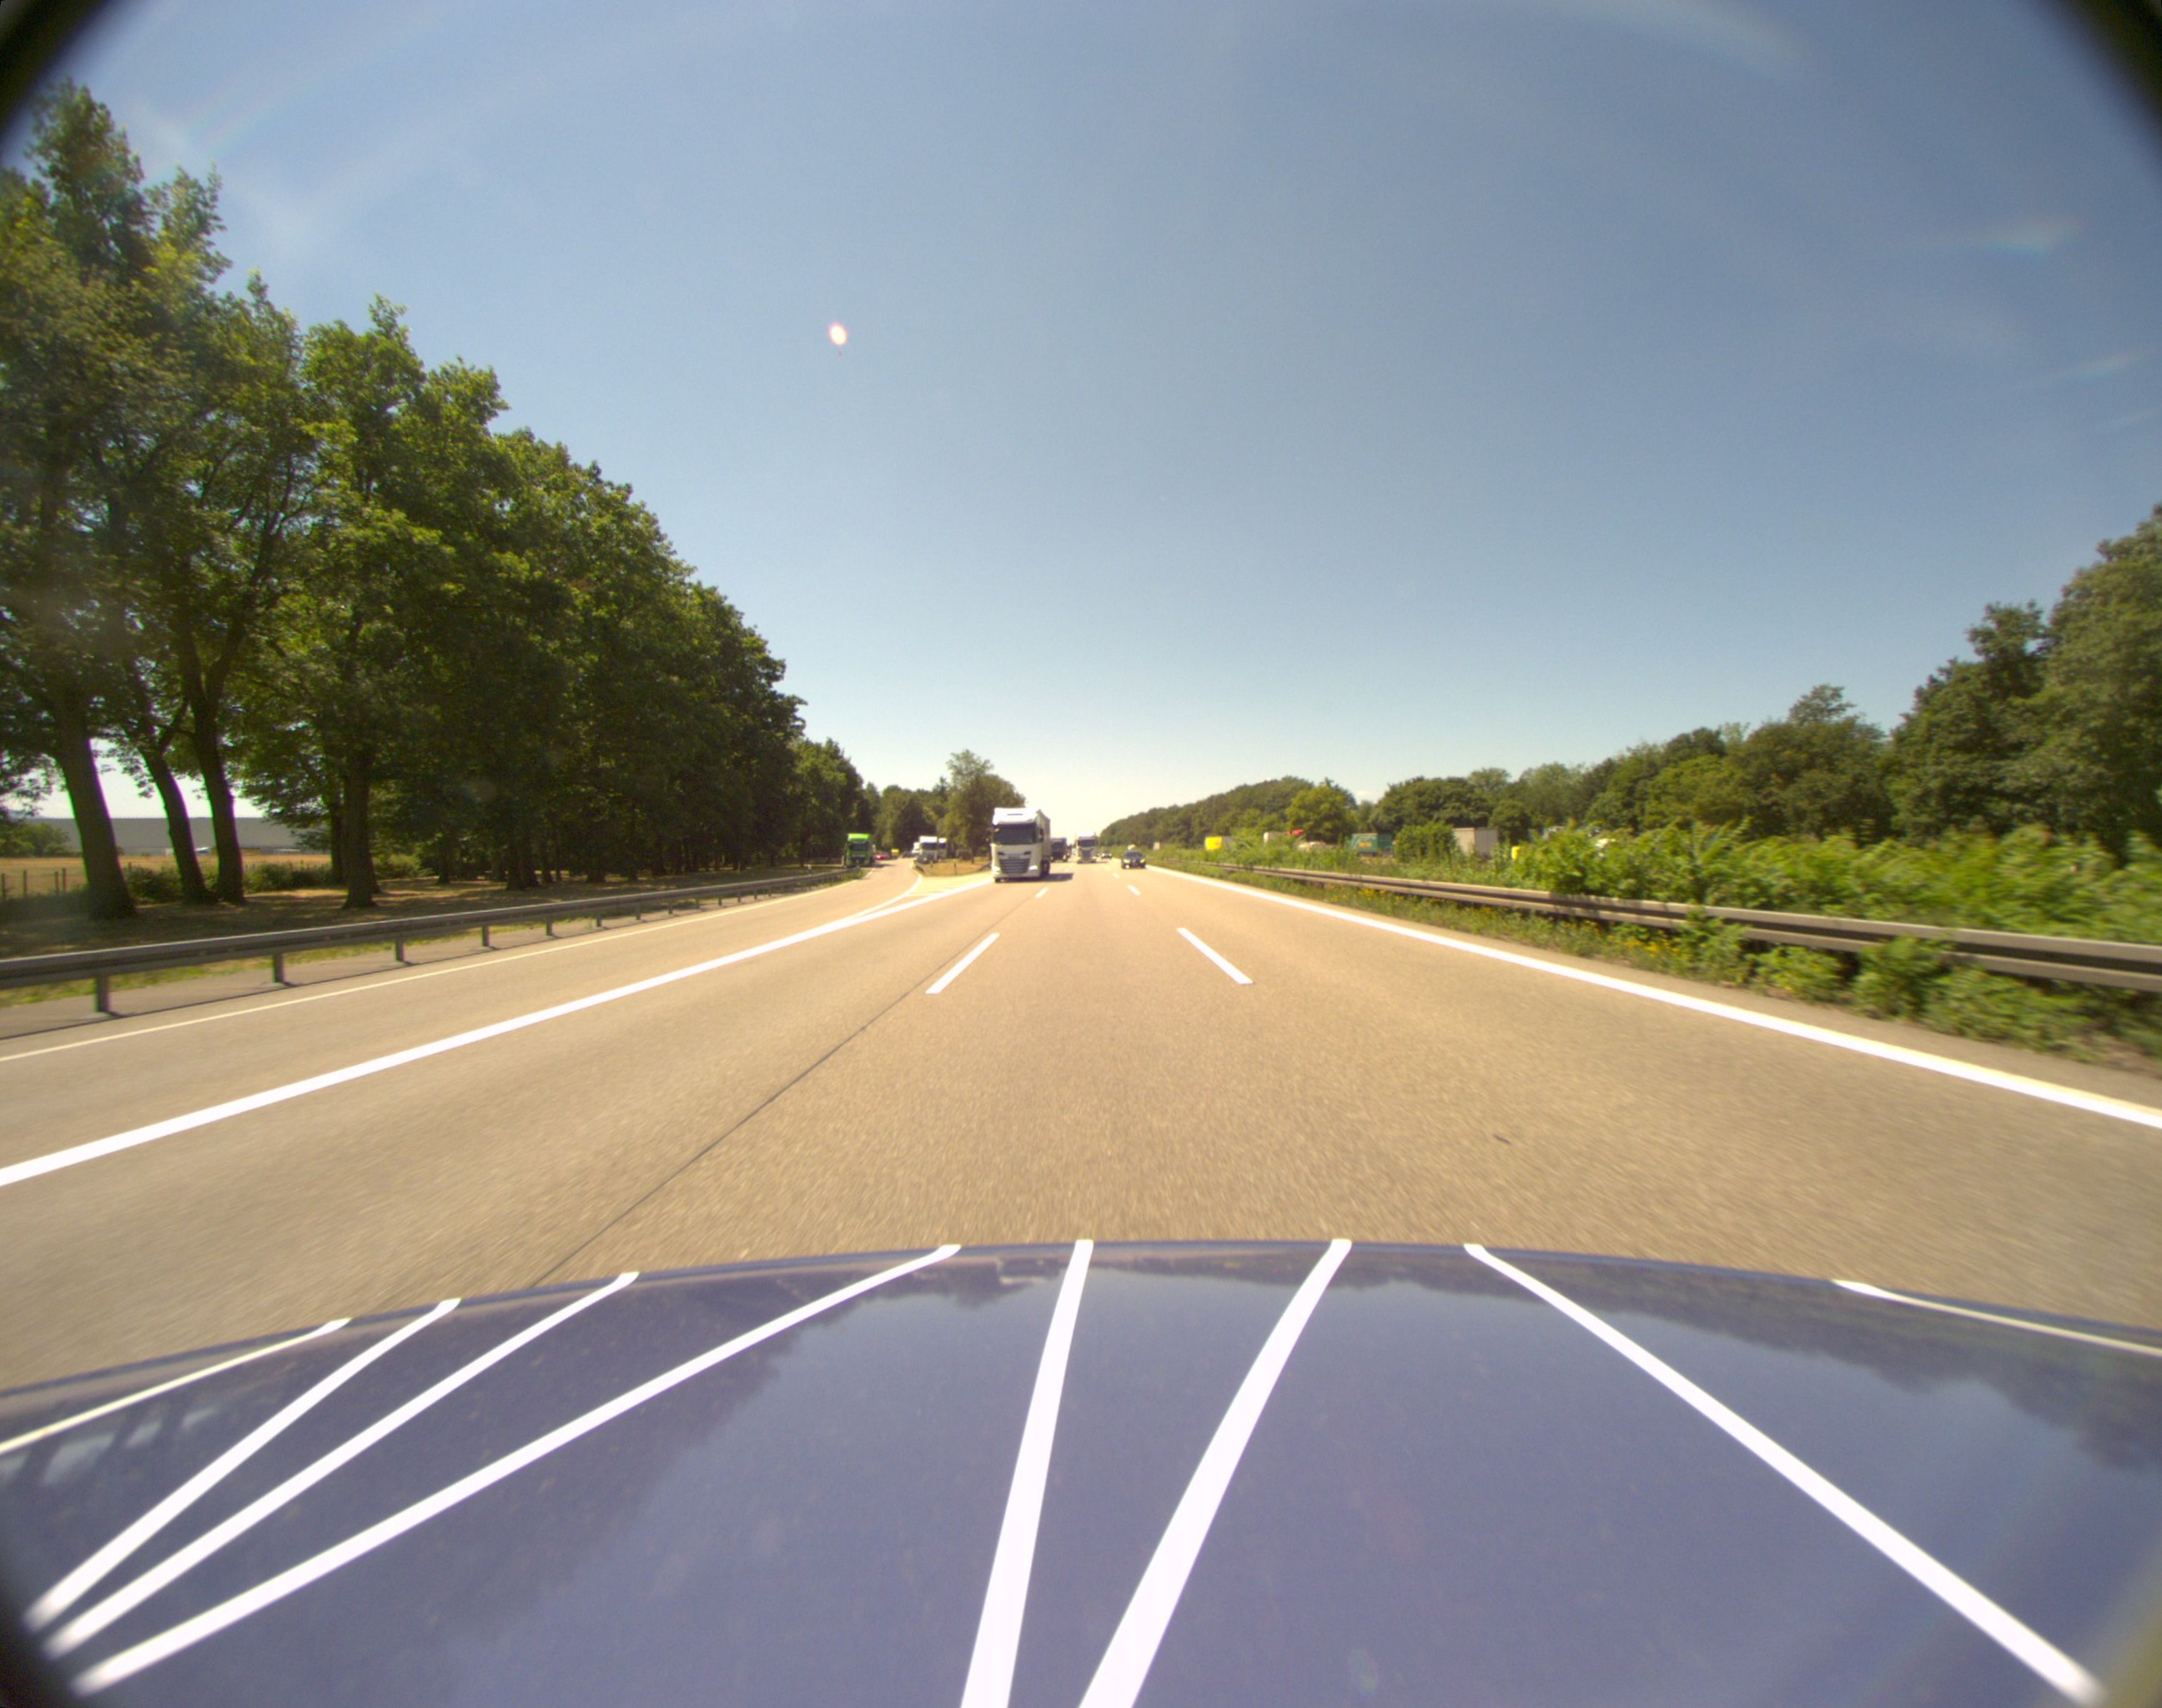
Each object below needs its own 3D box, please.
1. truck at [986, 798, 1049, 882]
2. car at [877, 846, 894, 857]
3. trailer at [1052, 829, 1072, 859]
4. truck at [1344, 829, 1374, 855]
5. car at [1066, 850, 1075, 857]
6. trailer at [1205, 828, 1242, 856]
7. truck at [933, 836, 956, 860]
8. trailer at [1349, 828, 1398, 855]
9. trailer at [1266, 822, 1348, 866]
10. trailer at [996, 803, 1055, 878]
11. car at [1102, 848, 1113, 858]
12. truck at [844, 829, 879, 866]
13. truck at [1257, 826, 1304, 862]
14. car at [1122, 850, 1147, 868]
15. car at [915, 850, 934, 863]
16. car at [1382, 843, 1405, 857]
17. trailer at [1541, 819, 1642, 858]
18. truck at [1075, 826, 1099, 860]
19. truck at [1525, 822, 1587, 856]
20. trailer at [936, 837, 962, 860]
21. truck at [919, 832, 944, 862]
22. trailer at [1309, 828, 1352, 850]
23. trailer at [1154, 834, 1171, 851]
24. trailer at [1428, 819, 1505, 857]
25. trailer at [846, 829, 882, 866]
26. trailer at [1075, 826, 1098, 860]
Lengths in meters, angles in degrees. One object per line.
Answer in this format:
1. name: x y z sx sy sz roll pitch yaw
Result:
1. truck: -3.409 -0.780 42.822 2.863 4.247 6.862 -2 1 -1
2. car: -32.945 -0.395 128.231 2.147 1.743 4.865 1 1 -7
3. trailer: -2.821 -1.499 116.453 2.863 4.247 11.469 -1 1 -1
4. truck: 50.886 -2.196 139.214 3.610 4.565 5.757 0 1 1
5. car: -2.346 -0.130 167.039 1.811 1.613 3.999 -2 1 0
6. trailer: 21.587 -1.829 115.921 3.206 3.803 14.021 -2 1 1
7. truck: -26.475 -1.116 147.539 3.393 4.437 8.229 -1 1 -4
8. trailer: 50.714 -2.116 132.334 3.609 4.565 14.023 0 1 1
9. trailer: 21.087 -0.934 72.325 3.206 3.559 15.966 -2 1 1
10. trailer: -3.494 -0.886 51.733 2.863 4.247 14.977 -2 1 -1
11. car: 4.670 -0.208 135.485 1.806 1.774 3.999 -1 1 1
12. truck: -26.456 -0.797 91.748 3.395 4.234 6.608 -3 1 -12
13. truck: 21.197 -1.047 81.081 3.206 3.559 6.995 -2 1 1
14. car: 4.398 0.371 63.016 1.811 1.399 4.000 -2 0 0
15. car: -22.560 0.323 109.394 1.999 1.700 4.677 1 1 -3
16. car: 48.739 -0.624 118.557 1.997 2.002 4.725 0 1 6
17. trailer: 51.513 -1.511 77.395 3.606 3.635 14.035 0 1 12
18. truck: 0.742 -1.407 97.945 2.863 4.248 5.410 -2 1 0
19. truck: 53.222 -1.626 85.358 3.606 3.635 7.410 0 1 12
20. trailer: -27.198 -1.202 157.348 3.393 4.437 18.117 -1 1 -4
21. truck: -23.334 -1.128 118.859 3.395 4.438 7.382 -2 1 -10
22. trailer: 49.993 -2.933 152.776 3.611 4.239 14.018 0 1 -2
23. trailer: 21.202 -2.924 198.351 2.910 4.247 11.487 -2 1 -1
24. trailer: 45.517 -1.847 90.386 3.222 4.112 14.054 -2 1 6
25. trailer: -27.844 -0.819 98.098 3.395 4.234 13.129 -3 1 -12
26. trailer: 0.758 -1.490 104.651 2.863 4.247 11.470 -2 1 0
